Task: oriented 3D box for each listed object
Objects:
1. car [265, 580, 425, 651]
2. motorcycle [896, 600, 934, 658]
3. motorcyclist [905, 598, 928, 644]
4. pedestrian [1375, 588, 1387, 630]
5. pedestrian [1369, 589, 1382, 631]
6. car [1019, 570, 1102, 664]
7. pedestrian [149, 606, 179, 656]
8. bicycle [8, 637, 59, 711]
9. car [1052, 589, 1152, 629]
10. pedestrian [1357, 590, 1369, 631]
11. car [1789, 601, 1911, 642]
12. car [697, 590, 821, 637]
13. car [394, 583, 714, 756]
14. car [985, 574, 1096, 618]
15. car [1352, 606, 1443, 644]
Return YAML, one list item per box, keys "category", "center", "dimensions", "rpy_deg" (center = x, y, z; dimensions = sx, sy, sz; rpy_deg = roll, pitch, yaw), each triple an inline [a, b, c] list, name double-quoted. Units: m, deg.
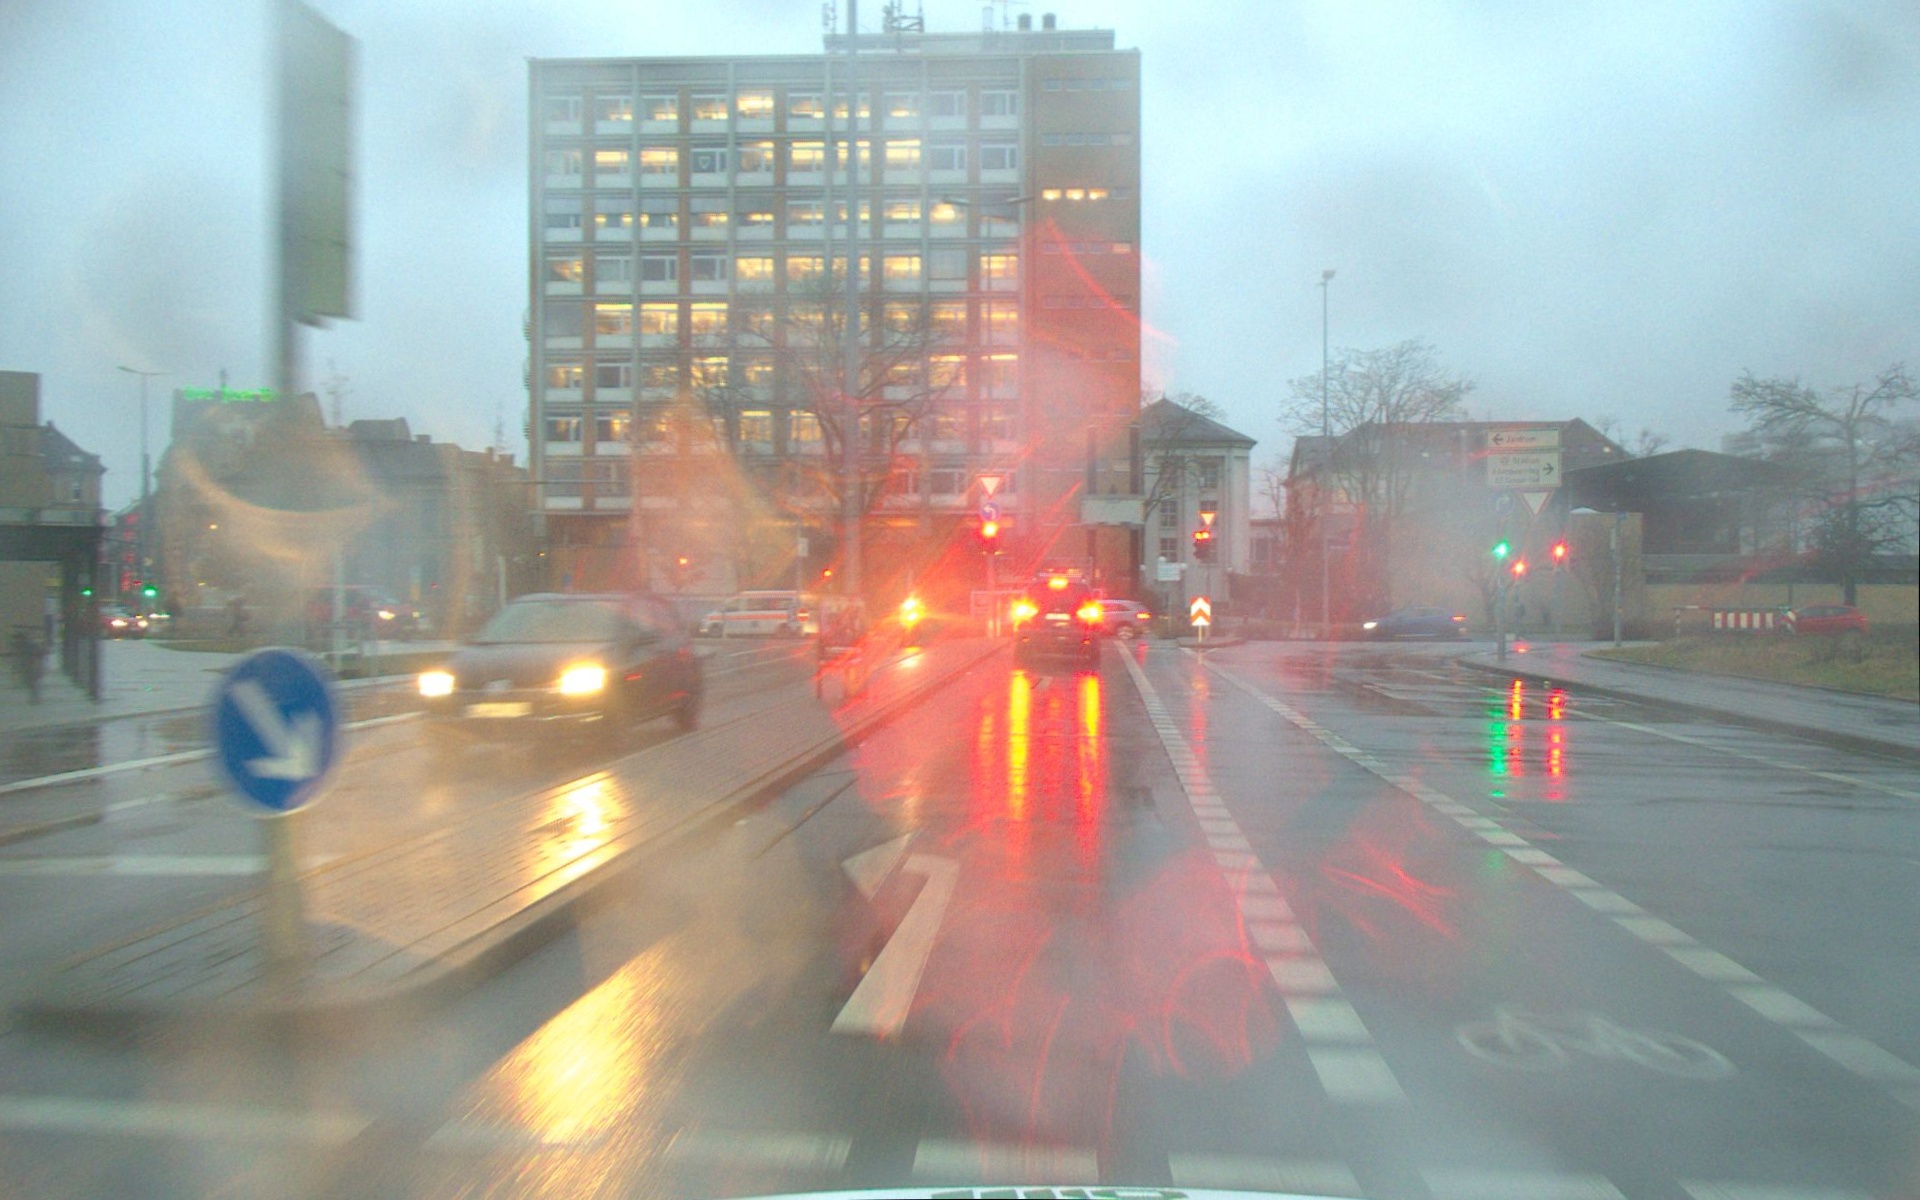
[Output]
- category: "car"
  center: [-21.513, 0.532, 57.880]
  dimensions: [4.918, 2.321, 2.258]
  rpy_deg: [1, -2, 21]
- category: "motorcycle"
  center: [-1.200, 0.757, 44.547]
  dimensions: [0.811, 1.523, 2.315]
  rpy_deg: [0, 0, 3]
- category: "motorcyclist"
  center: [-1.170, 0.582, 44.523]
  dimensions: [0.524, 1.214, 0.611]
  rpy_deg: [1, -2, 5]
- category: "pedestrian"
  center: [19.002, 0.388, 74.597]
  dimensions: [0.428, 1.871, 0.459]
  rpy_deg: [1, -2, 23]
- category: "pedestrian"
  center: [18.598, 0.442, 74.024]
  dimensions: [0.449, 1.871, 0.439]
  rpy_deg: [1, -2, 22]
- category: "car"
  center: [2.172, 0.317, 35.243]
  dimensions: [1.612, 1.850, 4.002]
  rpy_deg: [1, 1, 4]
- category: "pedestrian"
  center: [-28.209, 1.105, 58.637]
  dimensions: [0.451, 1.726, 0.795]
  rpy_deg: [1, -2, 28]
- category: "bicycle"
  center: [-15.573, 1.230, 27.829]
  dimensions: [0.542, 1.185, 1.884]
  rpy_deg: [2, -2, -25]
- category: "car"
  center: [5.821, 0.370, 67.887]
  dimensions: [3.835, 1.512, 1.469]
  rpy_deg: [1, -2, 20]
- category: "pedestrian"
  center: [18.262, 0.476, 74.893]
  dimensions: [0.428, 1.871, 0.459]
  rpy_deg: [1, -2, 22]
- category: "car"
  center: [33.144, 0.813, 61.675]
  dimensions: [3.709, 1.423, 1.566]
  rpy_deg: [1, -2, 13]
- category: "car"
  center: [-8.834, 0.568, 72.880]
  dimensions: [5.048, 1.947, 2.000]
  rpy_deg: [1, 0, 20]
- category: "car"
  center: [-3.706, 0.564, 15.946]
  dimensions: [1.710, 1.402, 4.369]
  rpy_deg: [-1, 0, 4]
- category: "car"
  center: [4.171, -0.204, 85.096]
  dimensions: [5.428, 2.060, 2.001]
  rpy_deg: [1, -2, 10]
- category: "car"
  center: [17.159, 0.964, 64.847]
  dimensions: [3.340, 1.422, 1.469]
  rpy_deg: [1, 0, 20]
